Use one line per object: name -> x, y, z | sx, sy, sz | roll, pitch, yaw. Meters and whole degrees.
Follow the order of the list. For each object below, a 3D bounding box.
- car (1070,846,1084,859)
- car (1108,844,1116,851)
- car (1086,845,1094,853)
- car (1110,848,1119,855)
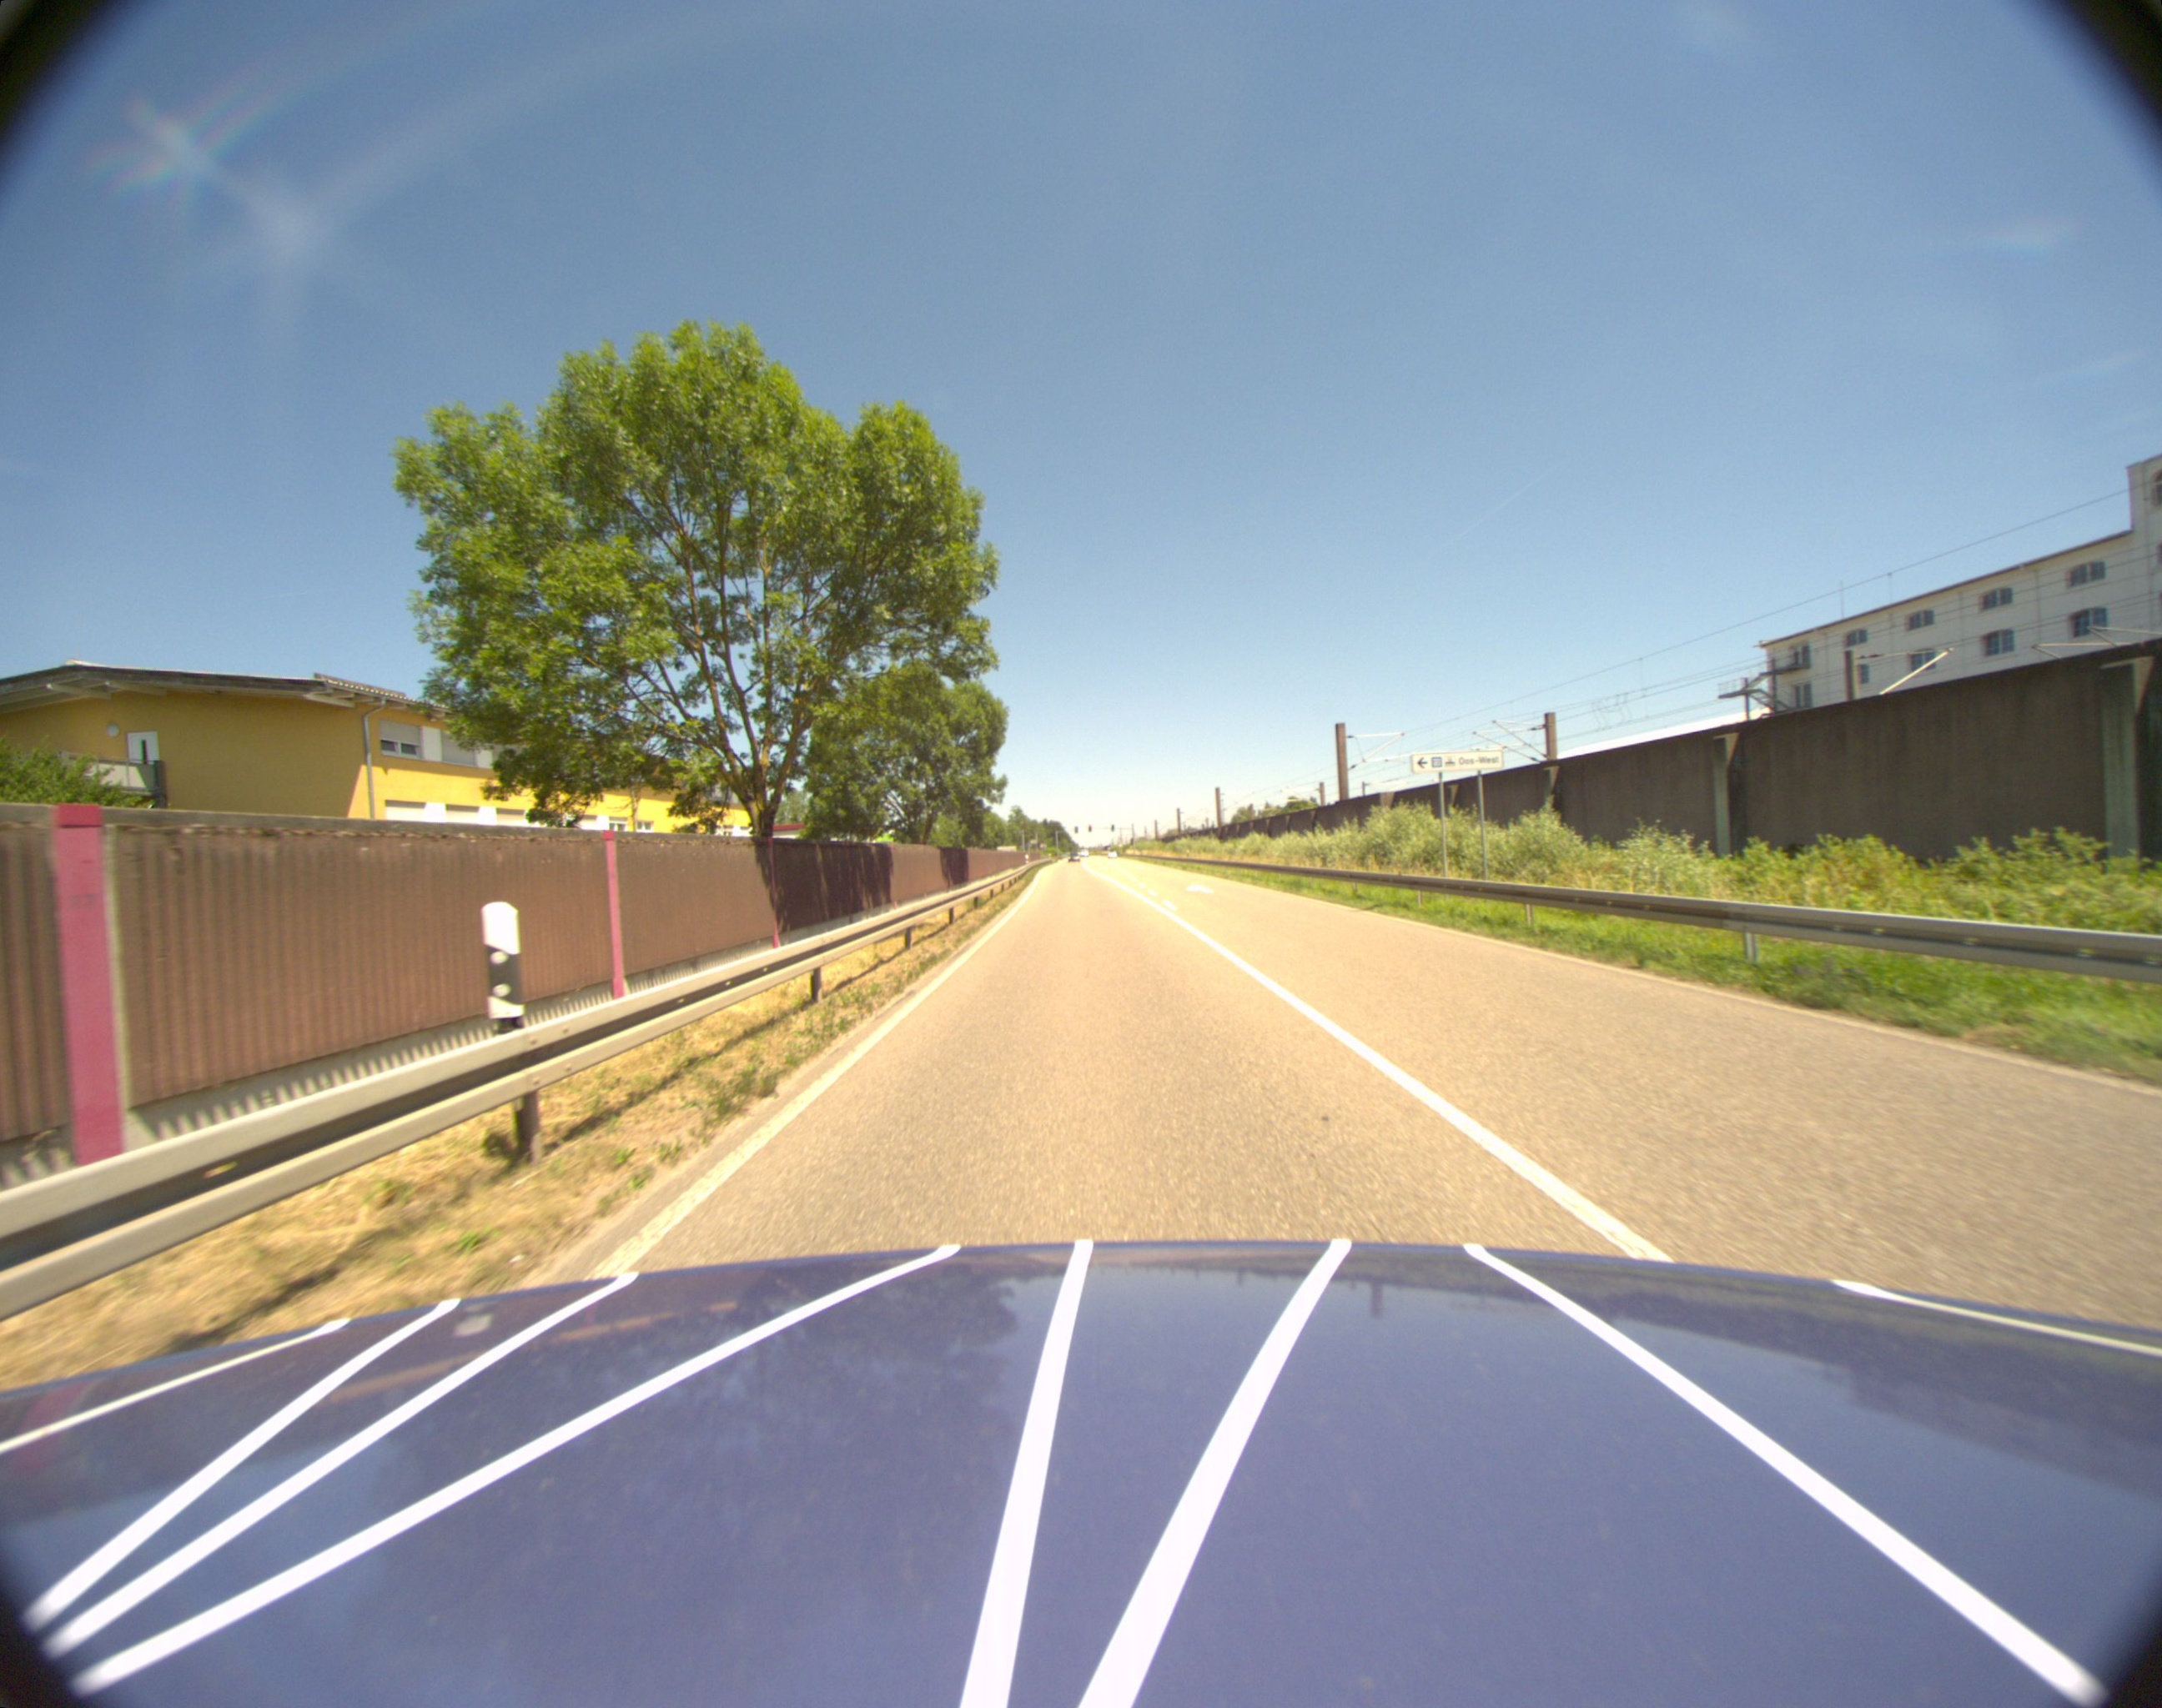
car -> -0.686, -0.243, 115.366 | 1.999, 2.002, 3.999 | -2, 1, -1
car -> 9.772, -2.020, 239.651 | 1.999, 2.002, 3.999 | -2, 1, 0
car -> 2.410, -1.320, 206.020 | 1.999, 2.002, 3.999 | -2, 1, 0
car -> 6.882, -0.573, 157.659 | 1.600, 1.466, 3.773 | -2, 1, -1
